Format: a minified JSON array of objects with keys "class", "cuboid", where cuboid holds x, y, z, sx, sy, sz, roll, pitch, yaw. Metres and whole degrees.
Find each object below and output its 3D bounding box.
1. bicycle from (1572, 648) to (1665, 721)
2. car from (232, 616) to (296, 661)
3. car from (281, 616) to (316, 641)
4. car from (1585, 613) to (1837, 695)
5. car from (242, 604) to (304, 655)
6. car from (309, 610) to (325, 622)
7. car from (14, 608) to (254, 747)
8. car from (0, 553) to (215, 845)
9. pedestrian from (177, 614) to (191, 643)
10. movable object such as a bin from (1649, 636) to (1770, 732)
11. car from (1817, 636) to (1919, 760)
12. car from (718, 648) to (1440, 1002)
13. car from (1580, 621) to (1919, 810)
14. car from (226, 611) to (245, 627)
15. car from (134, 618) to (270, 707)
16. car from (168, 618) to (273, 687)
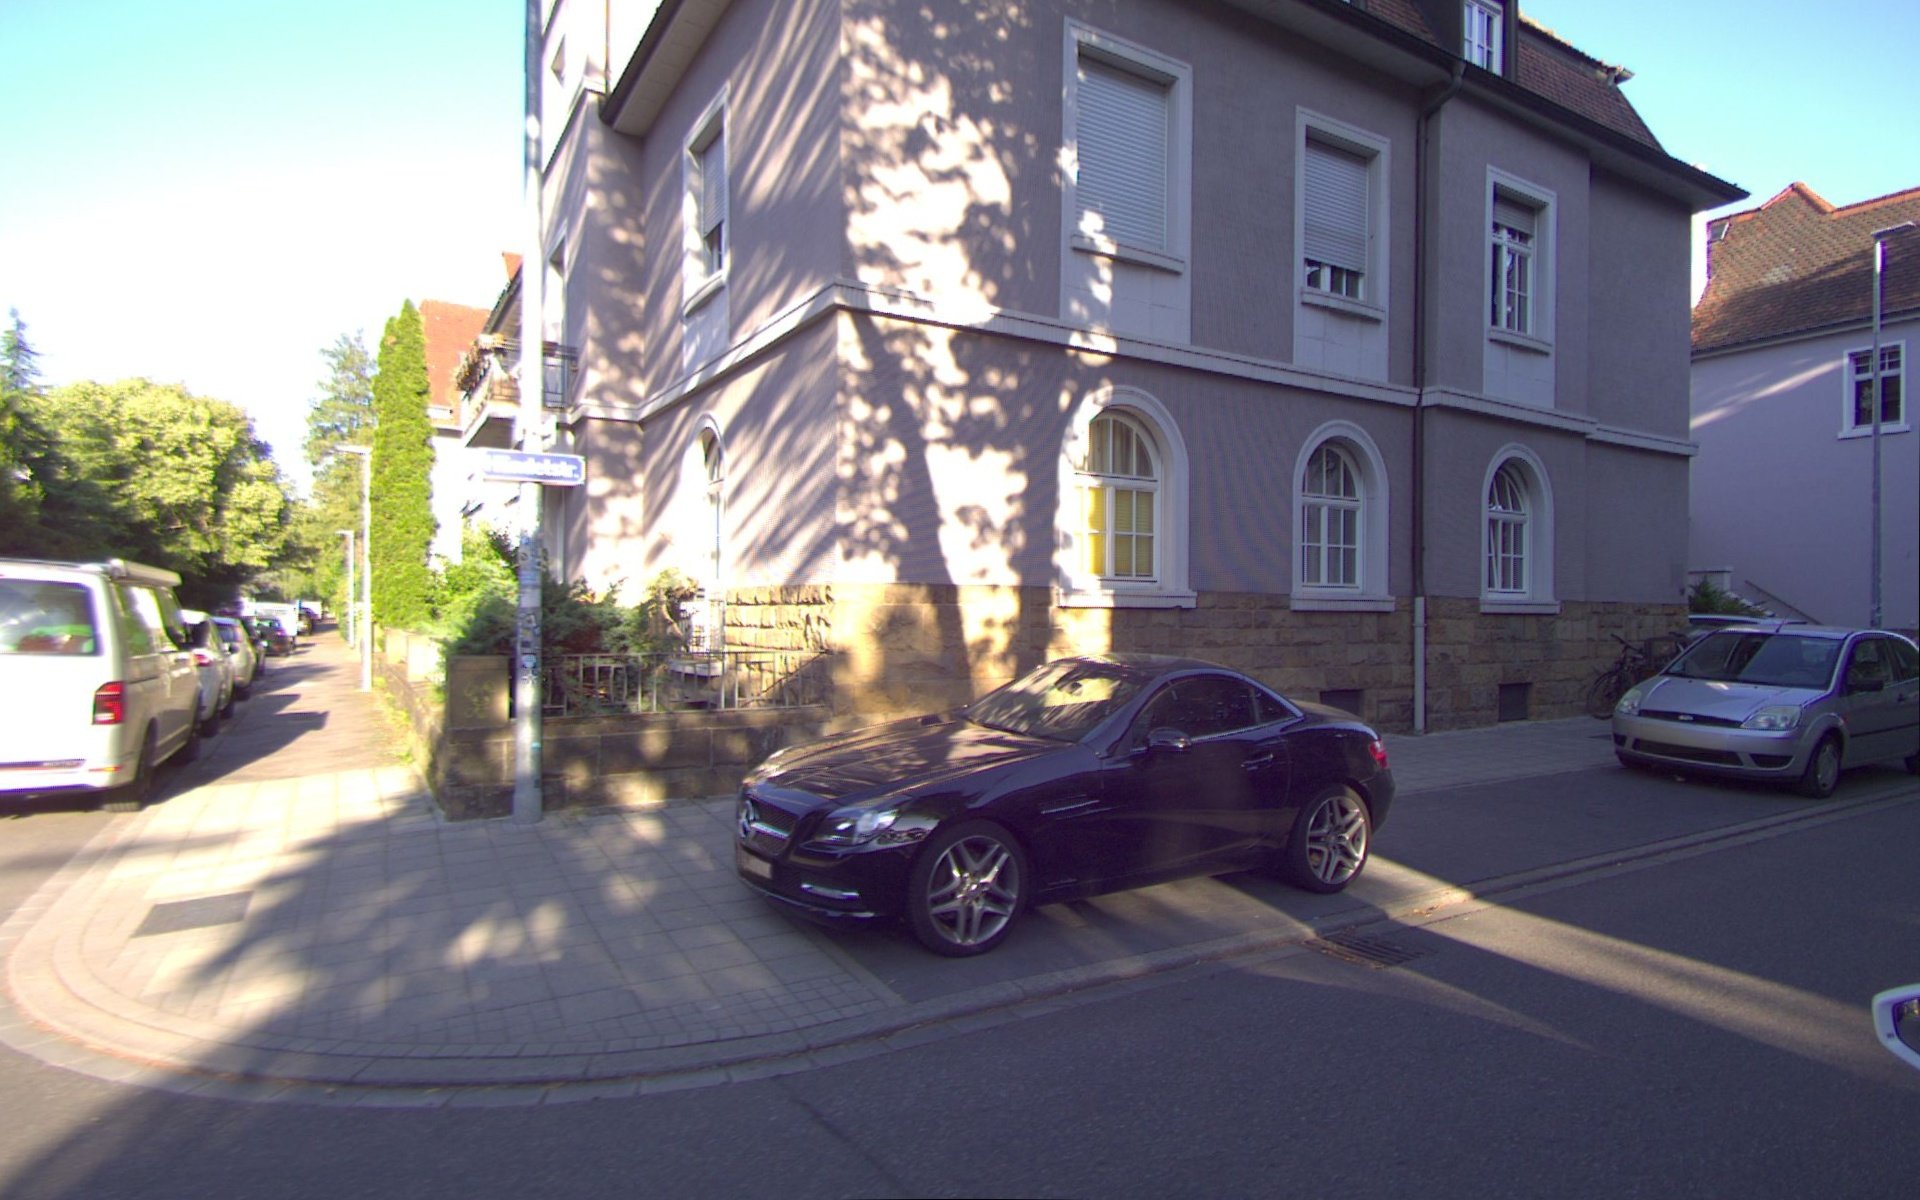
[{"class":"bicycle","cuboid":[9.455,1.190,14.404,1.702,0.949,0.392,0,0,-30]},{"class":"car","cuboid":[-25.231,1.376,36.529,1.647,1.487,4.162,3,-2,-32]},{"class":"car","cuboid":[-41.230,1.762,62.690,1.647,1.487,4.162,3,-2,-32]},{"class":"car","cuboid":[15.262,1.025,20.608,1.618,1.463,3.840,-1,0,-33]},{"class":"car","cuboid":[-28.736,1.216,42.120,1.894,1.974,4.162,3,-2,-32]},{"class":"car","cuboid":[-83.680,2.139,130.839,1.647,1.487,4.162,3,-2,-32]},{"class":"car","cuboid":[-11.229,0.967,13.994,1.978,1.608,4.268,3,-2,-32]},{"class":"car","cuboid":[-8.011,0.711,8.785,1.978,2.040,4.376,3,-2,-32]},{"class":"pedestrian","cuboid":[-49.560,1.807,64.126,0.656,1.803,0.585,0,-1,-33]},{"class":"movable object such as a bin","cuboid":[11.276,1.226,15.088,2.071,1.301,0.718,0,0,-30]},{"class":"car","cuboid":[12.441,1.136,12.309,4.173,1.336,1.525,1,0,-28]},{"class":"car","cuboid":[0.774,1.023,5.887,3.995,1.341,1.647,1,1,-28]},{"class":"car","cuboid":[8.104,0.991,9.969,3.912,1.465,1.646,0,1,-30]},{"class":"car","cuboid":[-84.490,2.170,117.150,1.678,1.862,3.842,0,-1,-35]},{"class":"car","cuboid":[-14.360,1.134,19.229,1.647,1.487,4.162,3,-2,-32]},{"class":"car","cuboid":[-17.501,1.207,23.933,1.647,1.487,4.162,3,-2,-32]}]
